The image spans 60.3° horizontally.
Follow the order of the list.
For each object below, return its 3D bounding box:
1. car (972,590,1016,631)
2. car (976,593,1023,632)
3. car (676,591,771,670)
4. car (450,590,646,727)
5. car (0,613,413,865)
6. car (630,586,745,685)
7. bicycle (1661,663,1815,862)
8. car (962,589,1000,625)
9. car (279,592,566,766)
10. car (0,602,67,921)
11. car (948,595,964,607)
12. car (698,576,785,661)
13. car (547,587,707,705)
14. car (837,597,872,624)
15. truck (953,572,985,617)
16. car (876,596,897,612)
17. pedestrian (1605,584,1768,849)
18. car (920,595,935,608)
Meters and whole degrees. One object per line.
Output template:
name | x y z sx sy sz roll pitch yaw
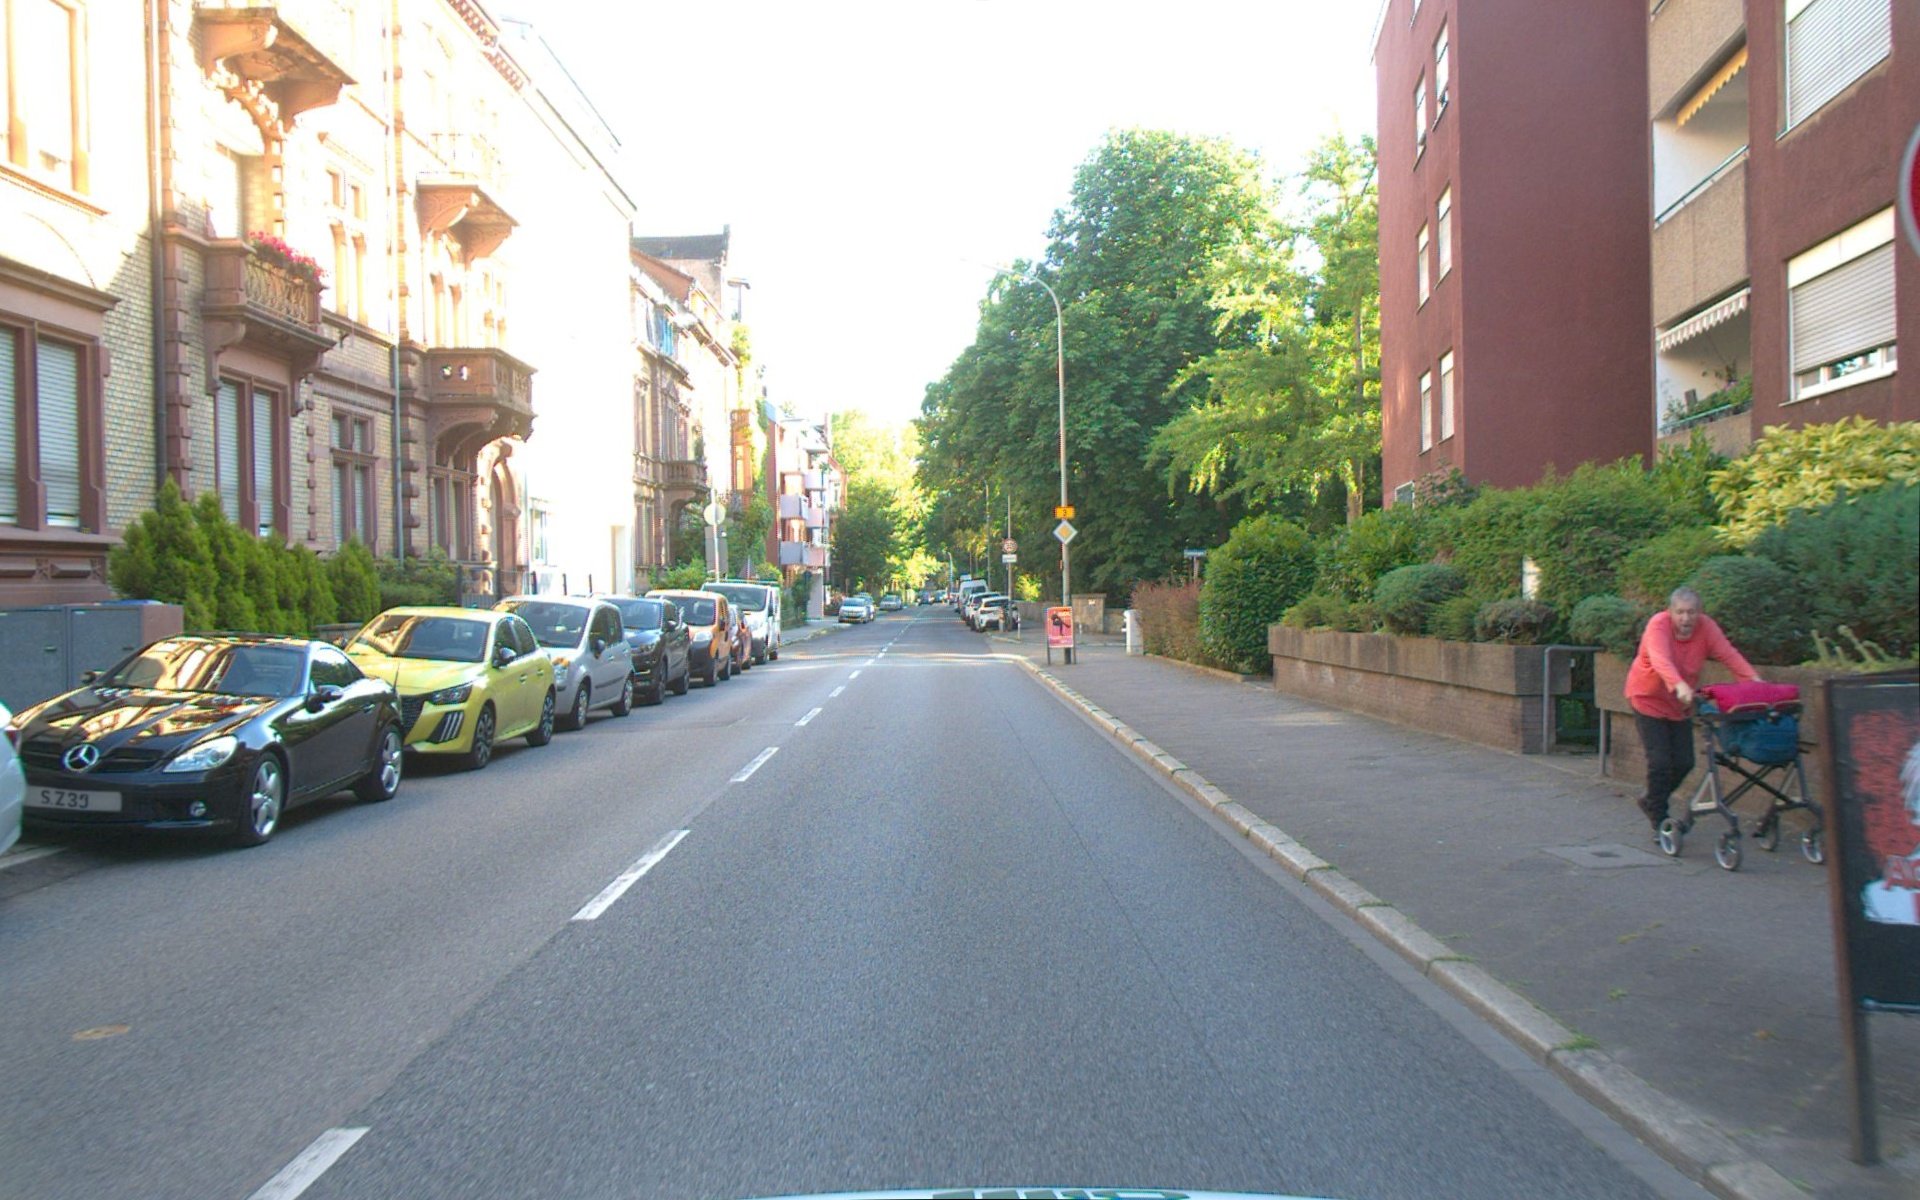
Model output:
car | 1.558 0.458 76.846 1.952 1.767 4.001 -1 1 1
car | 1.681 0.522 71.455 1.952 1.544 4.001 -2 1 1
car | -5.216 0.625 36.912 1.668 1.648 4.116 0 0 -2
car | -5.244 0.684 21.503 1.668 1.611 3.634 0 0 -1
car | -5.231 0.825 11.518 1.668 1.390 3.858 0 0 -2
car | -5.126 0.618 31.554 1.668 1.769 3.855 0 0 -2
bicycle | 4.080 0.838 8.695 0.555 0.987 0.492 0 1 -4
car | 1.115 0.334 87.862 1.952 1.767 4.001 -1 1 1
car | -5.224 0.733 16.636 1.668 1.529 4.070 0 -1 -2
car | -5.507 0.806 6.481 1.668 1.563 4.547 0 0 -2
car | -0.543 0.085 225.010 1.954 1.517 4.467 -2 1 -4
car | -5.518 0.433 42.281 1.757 2.045 4.696 0 0 -2
car | -5.262 0.661 26.655 1.667 1.737 4.440 0 0 0
car | -6.574 0.624 103.643 1.953 1.517 4.470 -1 1 -1
truck | 0.594 -0.418 112.534 1.953 2.947 4.470 -1 1 -1
car | -7.571 0.367 170.124 1.953 1.517 4.470 -1 1 -1
pedestrian | 4.065 0.628 9.291 0.586 1.427 0.668 0 1 -3
car | -4.292 0.196 221.642 1.953 1.517 4.470 -1 1 -1
